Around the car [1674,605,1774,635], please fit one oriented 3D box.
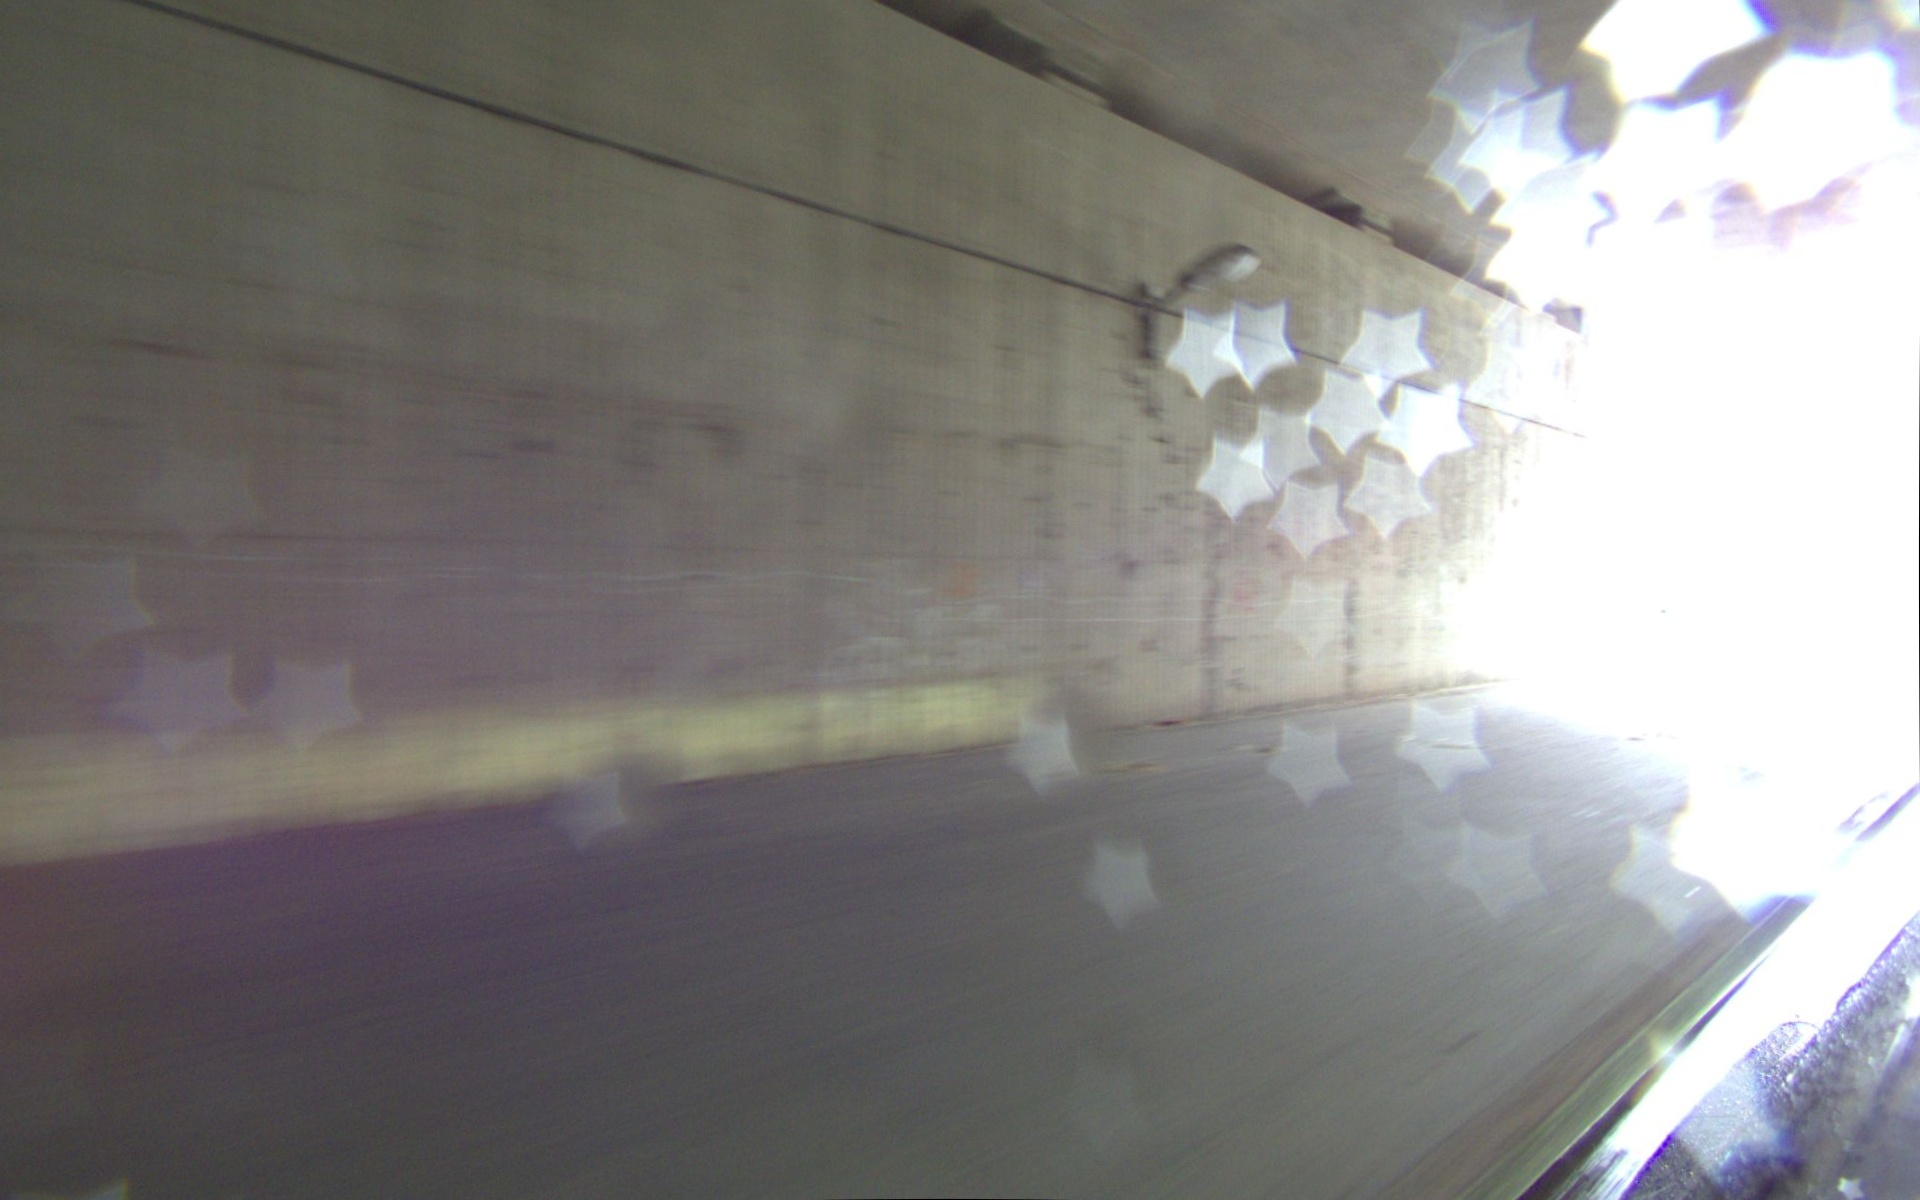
[{"bbox_3d":[40.590,1.045,53.844,3.801,1.551,1.711,0,-1,15],"label":"car"}]
